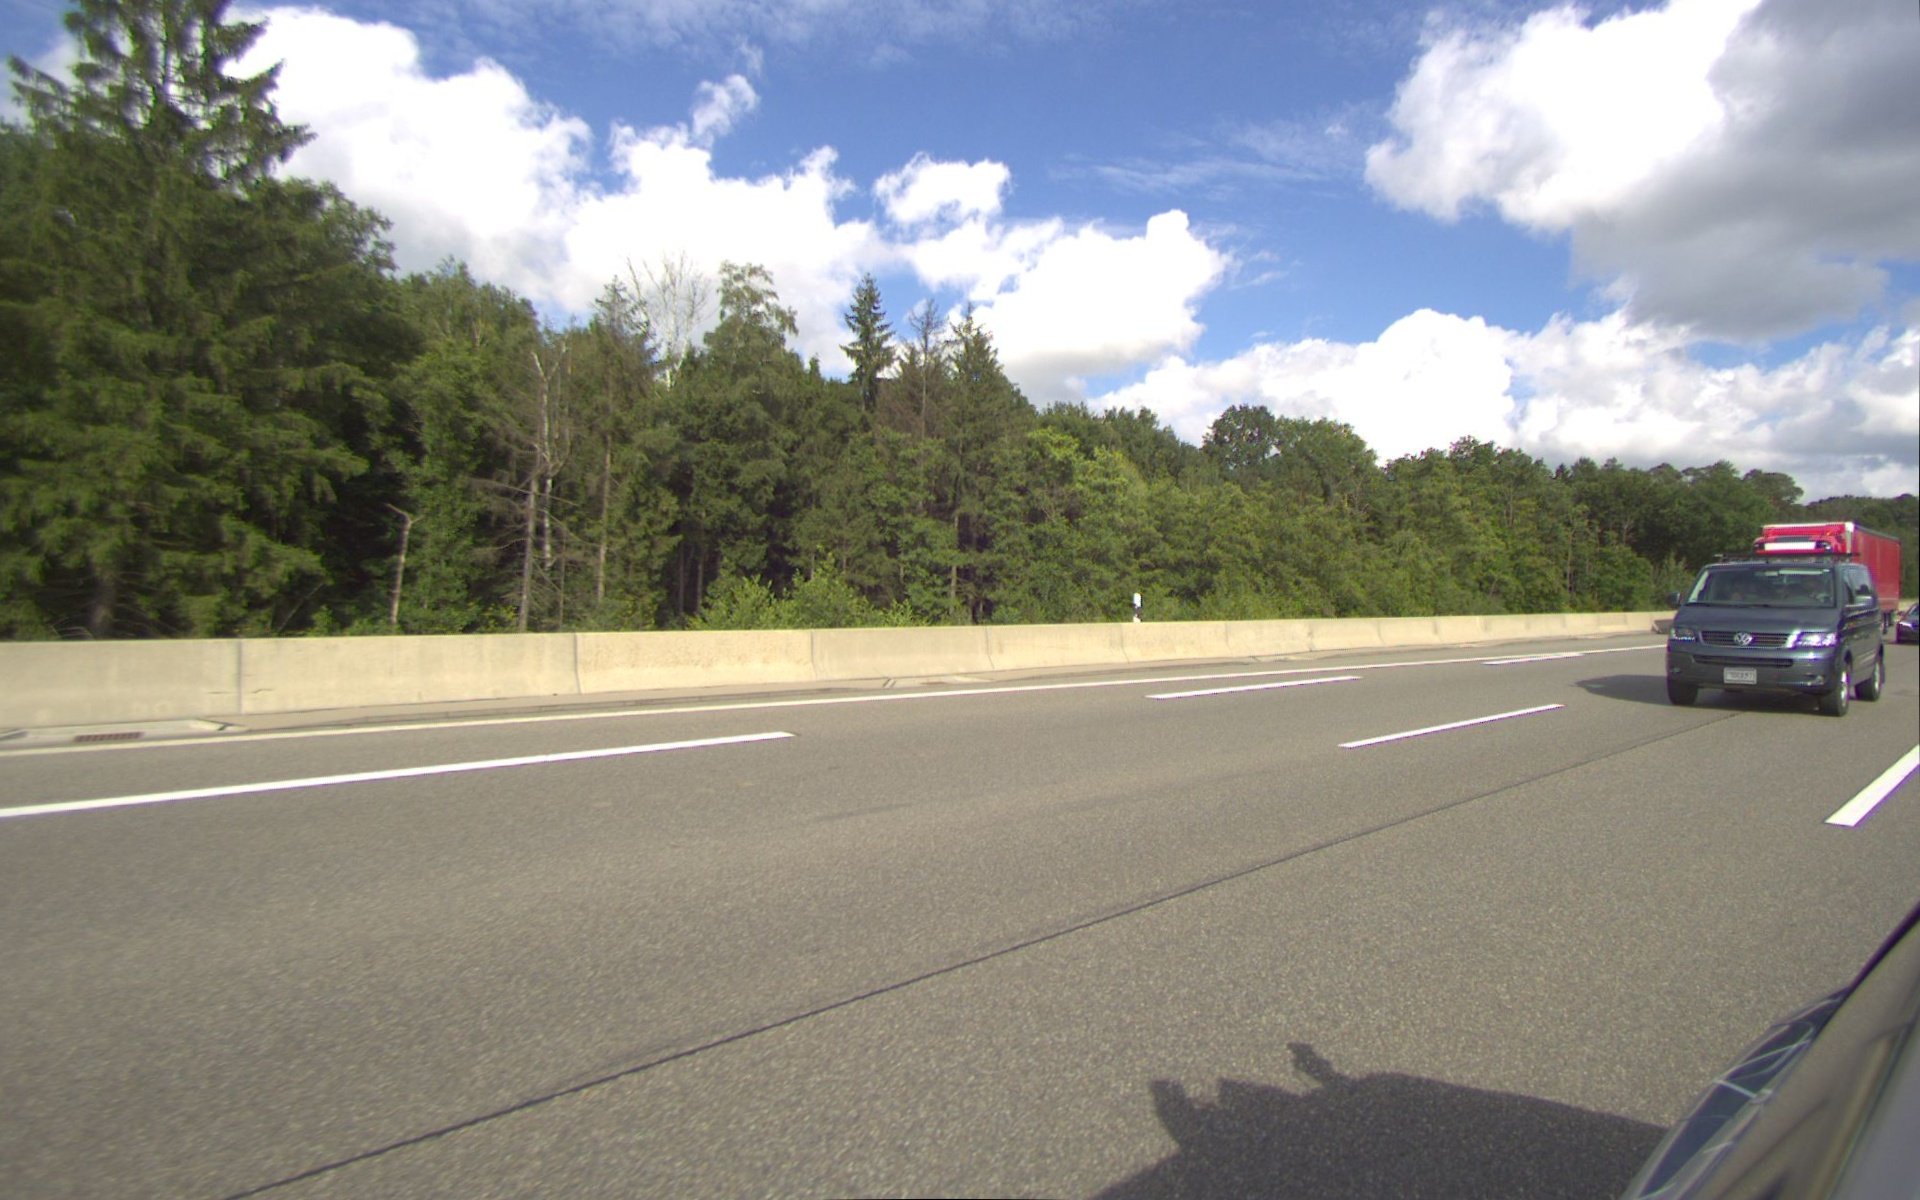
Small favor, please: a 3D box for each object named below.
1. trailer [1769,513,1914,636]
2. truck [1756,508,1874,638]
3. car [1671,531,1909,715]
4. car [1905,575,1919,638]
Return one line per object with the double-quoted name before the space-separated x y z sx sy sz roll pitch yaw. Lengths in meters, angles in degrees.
"trailer" 35.217 -0.966 40.127 14.129 4.171 2.529 -1 1 -42
"truck" 30.063 -0.925 35.541 4.573 4.255 2.530 -1 1 -41
"car" 11.933 0.256 14.415 4.876 2.193 1.925 0 1 -42
"car" 32.979 0.204 33.520 3.929 2.039 1.997 0 0 -40
